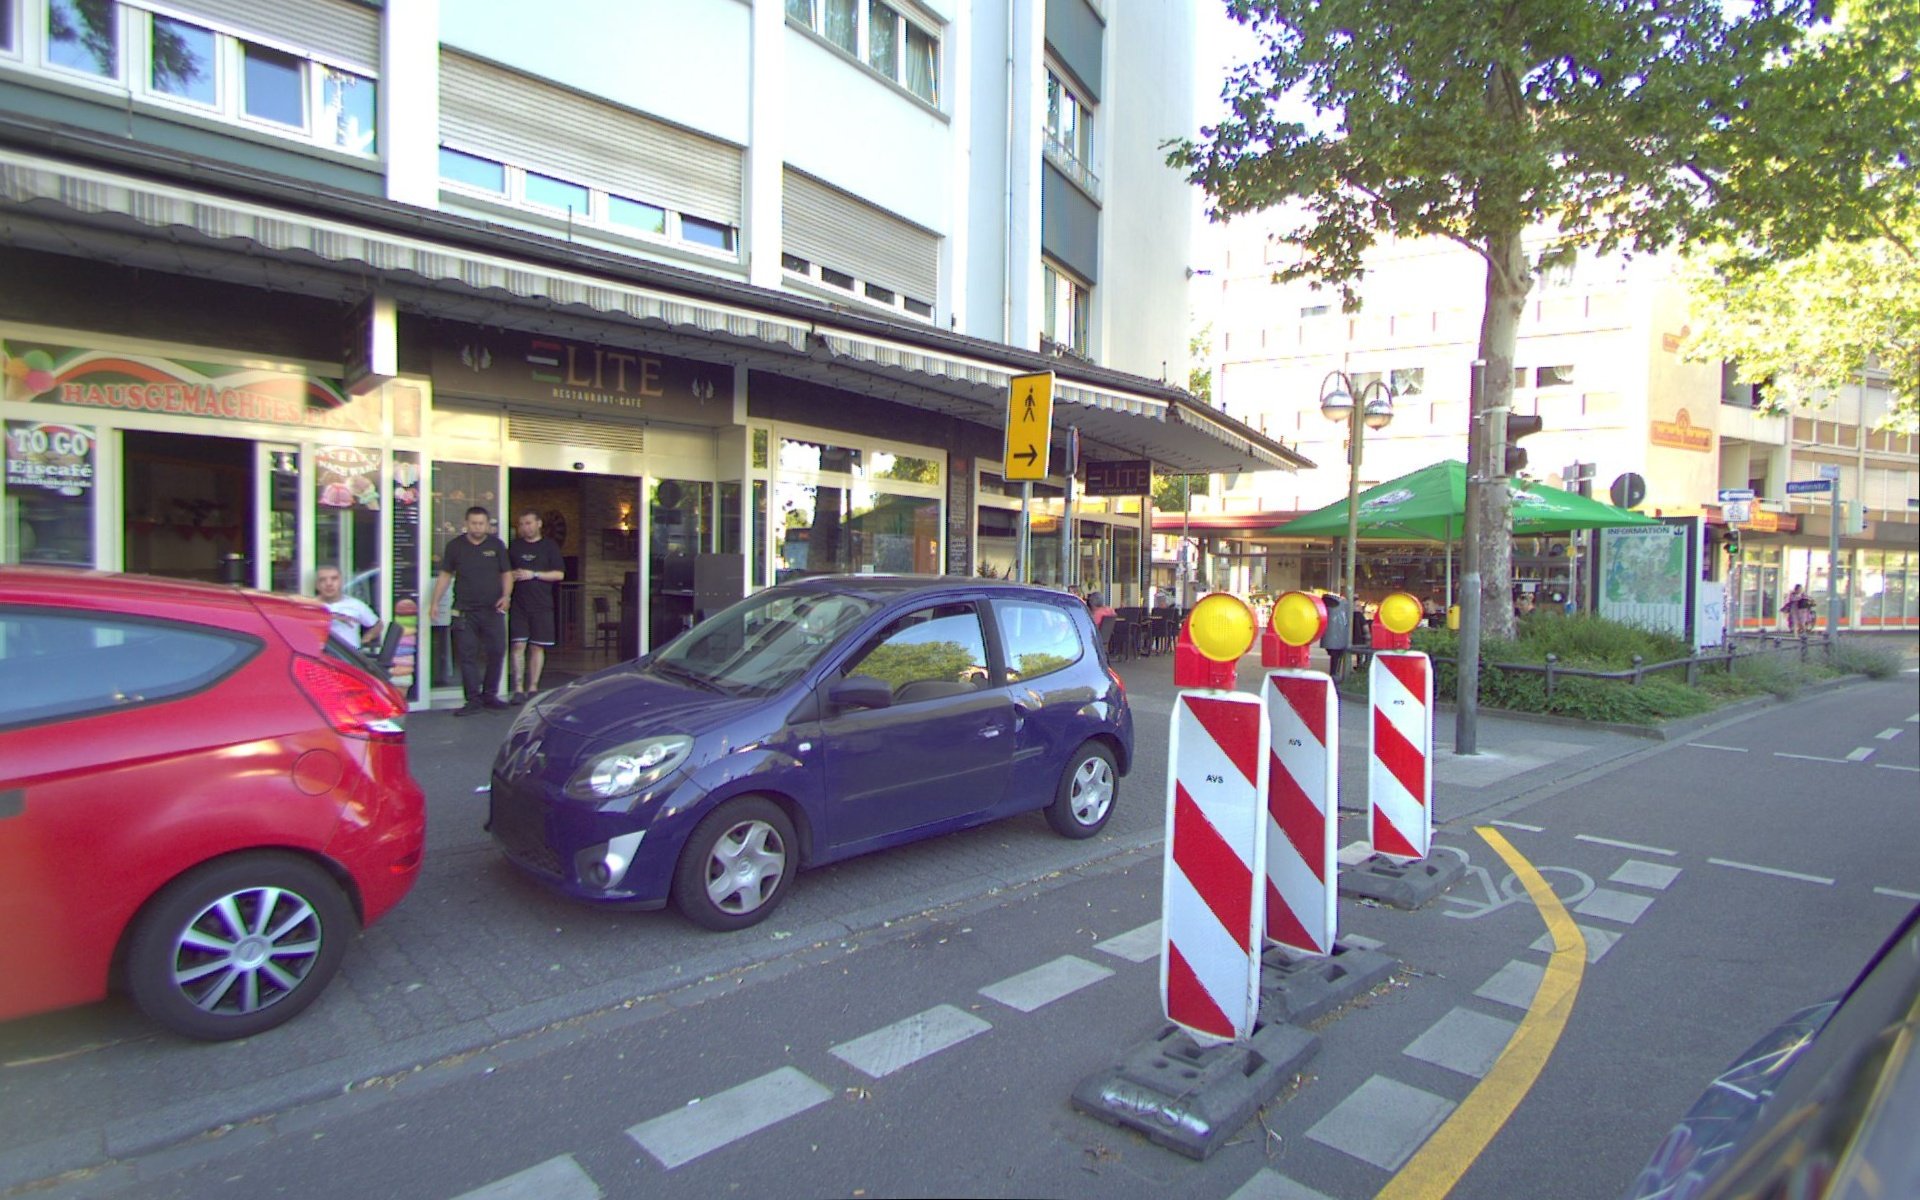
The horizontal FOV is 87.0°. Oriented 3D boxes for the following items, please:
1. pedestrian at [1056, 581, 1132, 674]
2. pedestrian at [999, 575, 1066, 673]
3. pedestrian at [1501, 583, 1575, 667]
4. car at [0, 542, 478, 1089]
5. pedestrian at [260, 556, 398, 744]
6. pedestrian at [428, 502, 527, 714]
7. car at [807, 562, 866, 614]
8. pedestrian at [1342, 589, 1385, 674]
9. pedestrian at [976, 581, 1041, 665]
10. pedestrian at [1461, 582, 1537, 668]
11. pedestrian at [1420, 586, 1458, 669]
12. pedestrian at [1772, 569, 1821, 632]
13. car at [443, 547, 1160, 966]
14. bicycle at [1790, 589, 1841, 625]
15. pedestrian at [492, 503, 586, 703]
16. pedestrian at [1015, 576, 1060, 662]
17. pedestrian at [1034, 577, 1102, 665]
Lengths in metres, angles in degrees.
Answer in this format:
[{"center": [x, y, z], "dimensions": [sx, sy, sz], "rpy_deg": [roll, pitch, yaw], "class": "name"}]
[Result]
[{"center": [1.856, 0.366, 14.029], "dimensions": [0.838, 1.213, 0.644], "rpy_deg": [3, 1, 27], "class": "pedestrian"}, {"center": [0.992, 0.314, 13.754], "dimensions": [0.644, 1.267, 0.711], "rpy_deg": [3, 1, 25], "class": "pedestrian"}, {"center": [9.268, 0.380, 16.226], "dimensions": [0.753, 1.301, 0.720], "rpy_deg": [0, 1, -28], "class": "pedestrian"}, {"center": [-3.642, 0.564, 2.853], "dimensions": [1.667, 1.446, 3.786], "rpy_deg": [5, 4, 44], "class": "car"}, {"center": [-4.823, 0.321, 7.712], "dimensions": [0.765, 1.247, 1.207], "rpy_deg": [-1, 5, -38], "class": "pedestrian"}, {"center": [-4.192, 0.048, 8.779], "dimensions": [0.587, 1.756, 0.589], "rpy_deg": [1, 3, -42], "class": "pedestrian"}, {"center": [-4.434, -0.451, 36.737], "dimensions": [1.960, 1.771, 4.004], "rpy_deg": [1, 1, -5], "class": "car"}, {"center": [5.943, 0.451, 14.917], "dimensions": [0.460, 1.235, 0.432], "rpy_deg": [1, 0, 5], "class": "pedestrian"}, {"center": [0.703, 0.320, 14.658], "dimensions": [0.710, 1.144, 0.645], "rpy_deg": [3, 1, 25], "class": "pedestrian"}, {"center": [8.418, 0.371, 15.824], "dimensions": [0.752, 1.301, 0.721], "rpy_deg": [0, 1, -27], "class": "pedestrian"}, {"center": [7.455, 0.418, 15.773], "dimensions": [0.427, 1.234, 0.465], "rpy_deg": [3, 2, 20], "class": "pedestrian"}, {"center": [24.306, 0.004, 29.404], "dimensions": [0.883, 1.779, 0.751], "rpy_deg": [0, 1, -24], "class": "pedestrian"}, {"center": [-0.645, 0.531, 5.502], "dimensions": [3.545, 1.484, 1.621], "rpy_deg": [0, 4, -44], "class": "car"}, {"center": [28.123, 0.214, 33.258], "dimensions": [1.933, 1.157, 0.530], "rpy_deg": [0, 1, -26], "class": "bicycle"}, {"center": [-3.915, 0.012, 9.407], "dimensions": [0.635, 1.780, 0.612], "rpy_deg": [1, 3, -36], "class": "pedestrian"}, {"center": [1.166, 0.273, 15.279], "dimensions": [0.541, 1.259, 0.521], "rpy_deg": [2, 1, -7], "class": "pedestrian"}, {"center": [1.587, 0.297, 14.919], "dimensions": [0.664, 1.233, 0.706], "rpy_deg": [3, 1, 43], "class": "pedestrian"}]
